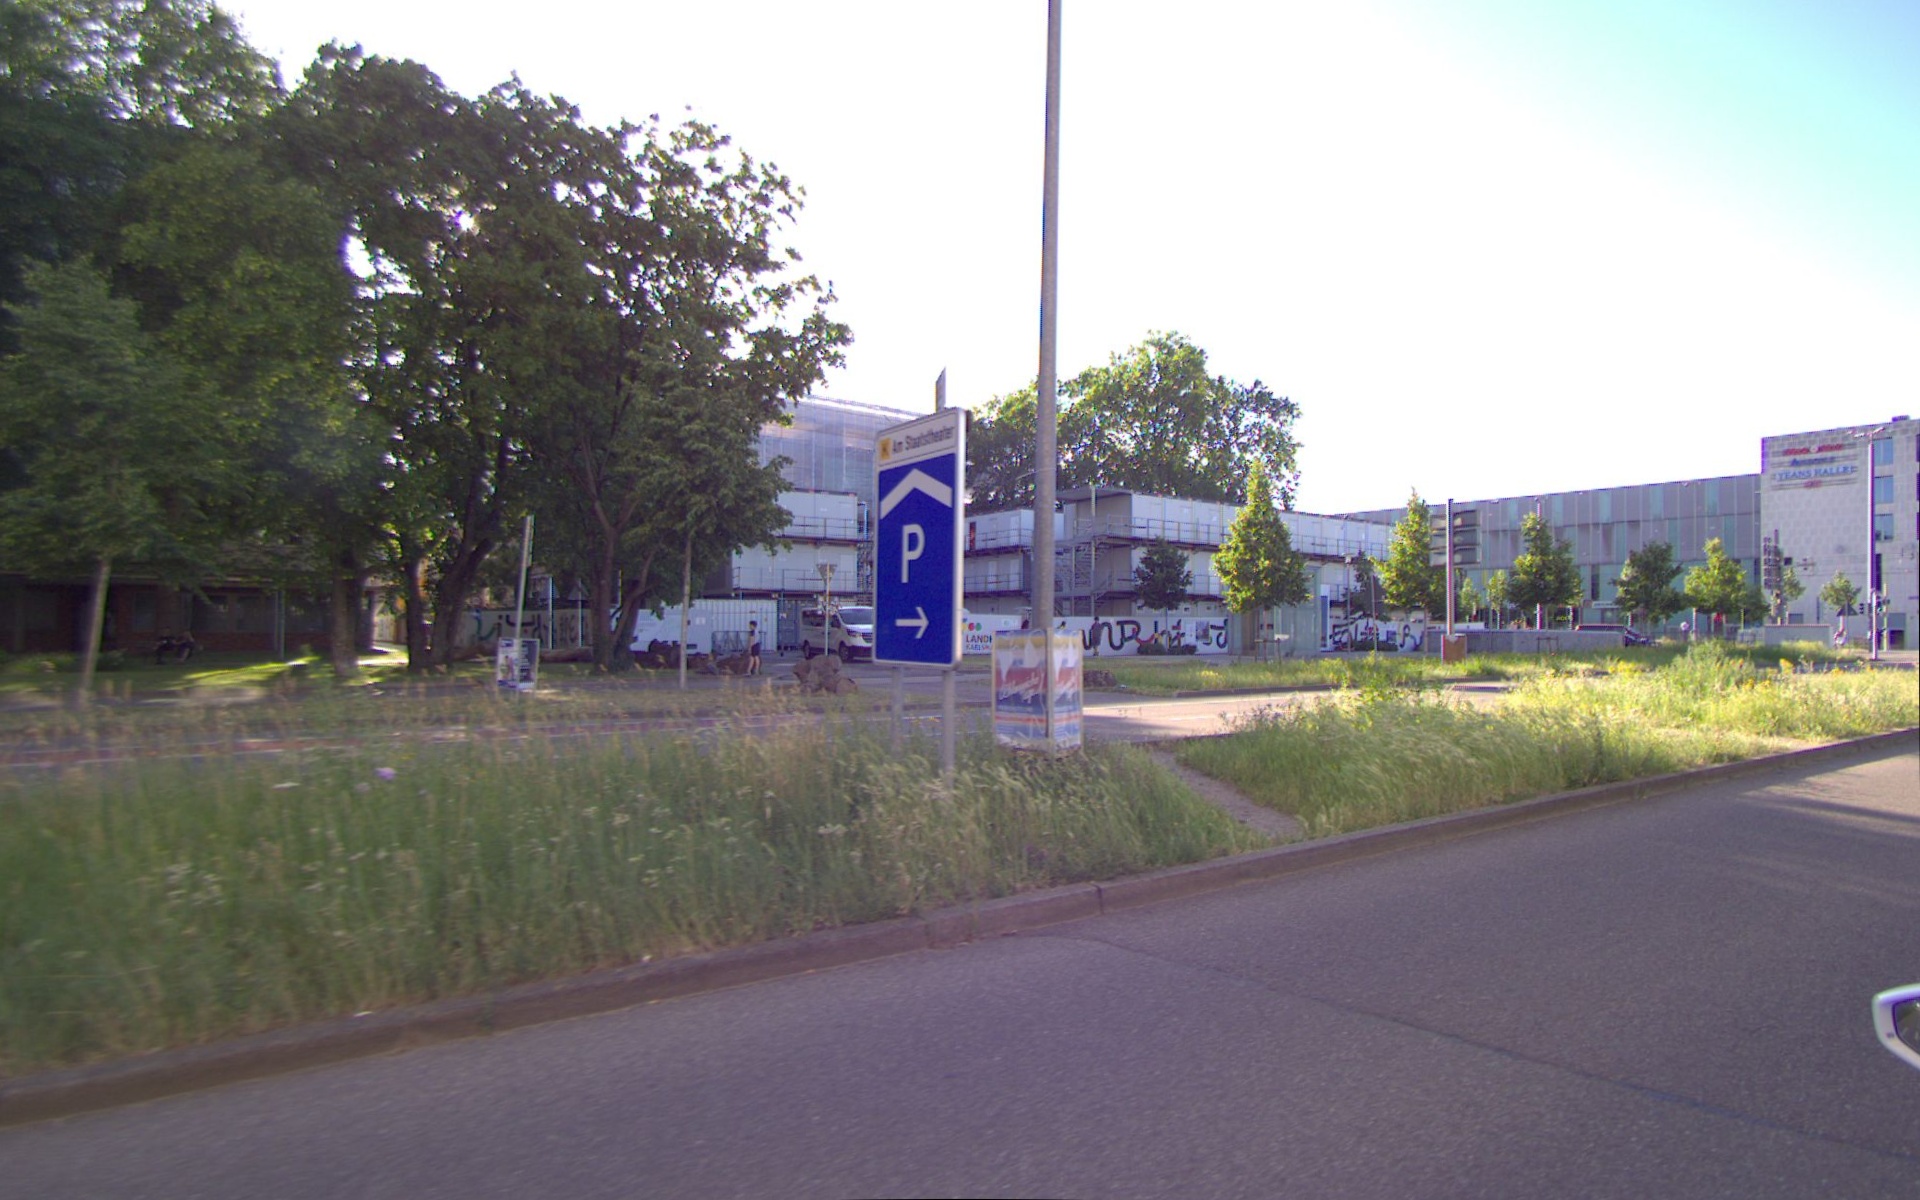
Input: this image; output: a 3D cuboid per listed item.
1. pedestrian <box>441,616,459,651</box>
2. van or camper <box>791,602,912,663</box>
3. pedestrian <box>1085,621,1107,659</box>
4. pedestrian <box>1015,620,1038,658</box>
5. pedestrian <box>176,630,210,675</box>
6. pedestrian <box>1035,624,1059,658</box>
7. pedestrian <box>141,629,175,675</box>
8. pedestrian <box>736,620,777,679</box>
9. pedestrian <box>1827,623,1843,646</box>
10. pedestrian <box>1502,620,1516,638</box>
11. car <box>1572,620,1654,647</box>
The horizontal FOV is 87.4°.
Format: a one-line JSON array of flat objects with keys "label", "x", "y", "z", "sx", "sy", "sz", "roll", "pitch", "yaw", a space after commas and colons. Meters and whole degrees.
[{"label": "pedestrian", "x": -24.795, "y": 1.614, "z": 48.853, "sx": 0.735, "sy": 1.662, "sz": 0.721, "roll": 1, "pitch": -1, "yaw": -27}, {"label": "van or camper", "x": -4.086, "y": 1.229, "z": 36.921, "sx": 2.232, "sy": 2.040, "sz": 5.635, "roll": 3, "pitch": -4, "yaw": -31}, {"label": "pedestrian", "x": 6.279, "y": 1.841, "z": 46.351, "sx": 0.827, "sy": 1.711, "sz": 0.575, "roll": 1, "pitch": -1, "yaw": -35}, {"label": "pedestrian", "x": 2.826, "y": 1.646, "z": 42.600, "sx": 0.827, "sy": 1.578, "sz": 0.575, "roll": 1, "pitch": -1, "yaw": -35}, {"label": "pedestrian", "x": -26.926, "y": 1.826, "z": 35.269, "sx": 0.887, "sy": 1.560, "sz": 0.894, "roll": 1, "pitch": -2, "yaw": -40}, {"label": "pedestrian", "x": 3.652, "y": 1.714, "z": 42.281, "sx": 0.827, "sy": 1.396, "sz": 0.575, "roll": 1, "pitch": -1, "yaw": -35}, {"label": "pedestrian", "x": -27.687, "y": 1.776, "z": 34.679, "sx": 0.887, "sy": 1.560, "sz": 0.894, "roll": 1, "pitch": -2, "yaw": -40}, {"label": "pedestrian", "x": -5.410, "y": 1.298, "z": 26.686, "sx": 0.930, "sy": 1.548, "sz": 0.610, "roll": 0, "pitch": -1, "yaw": -28}, {"label": "pedestrian", "x": 59.958, "y": 2.372, "z": 68.851, "sx": 0.797, "sy": 1.522, "sz": 0.715, "roll": 1, "pitch": -2, "yaw": -42}, {"label": "pedestrian", "x": 47.563, "y": 2.526, "z": 87.013, "sx": 0.718, "sy": 1.522, "sz": 0.794, "roll": 1, "pitch": -2, "yaw": -40}, {"label": "car", "x": 46.712, "y": 2.412, "z": 71.914, "sx": 1.857, "sy": 1.834, "sz": 4.601, "roll": 4, "pitch": -4, "yaw": -40}]
